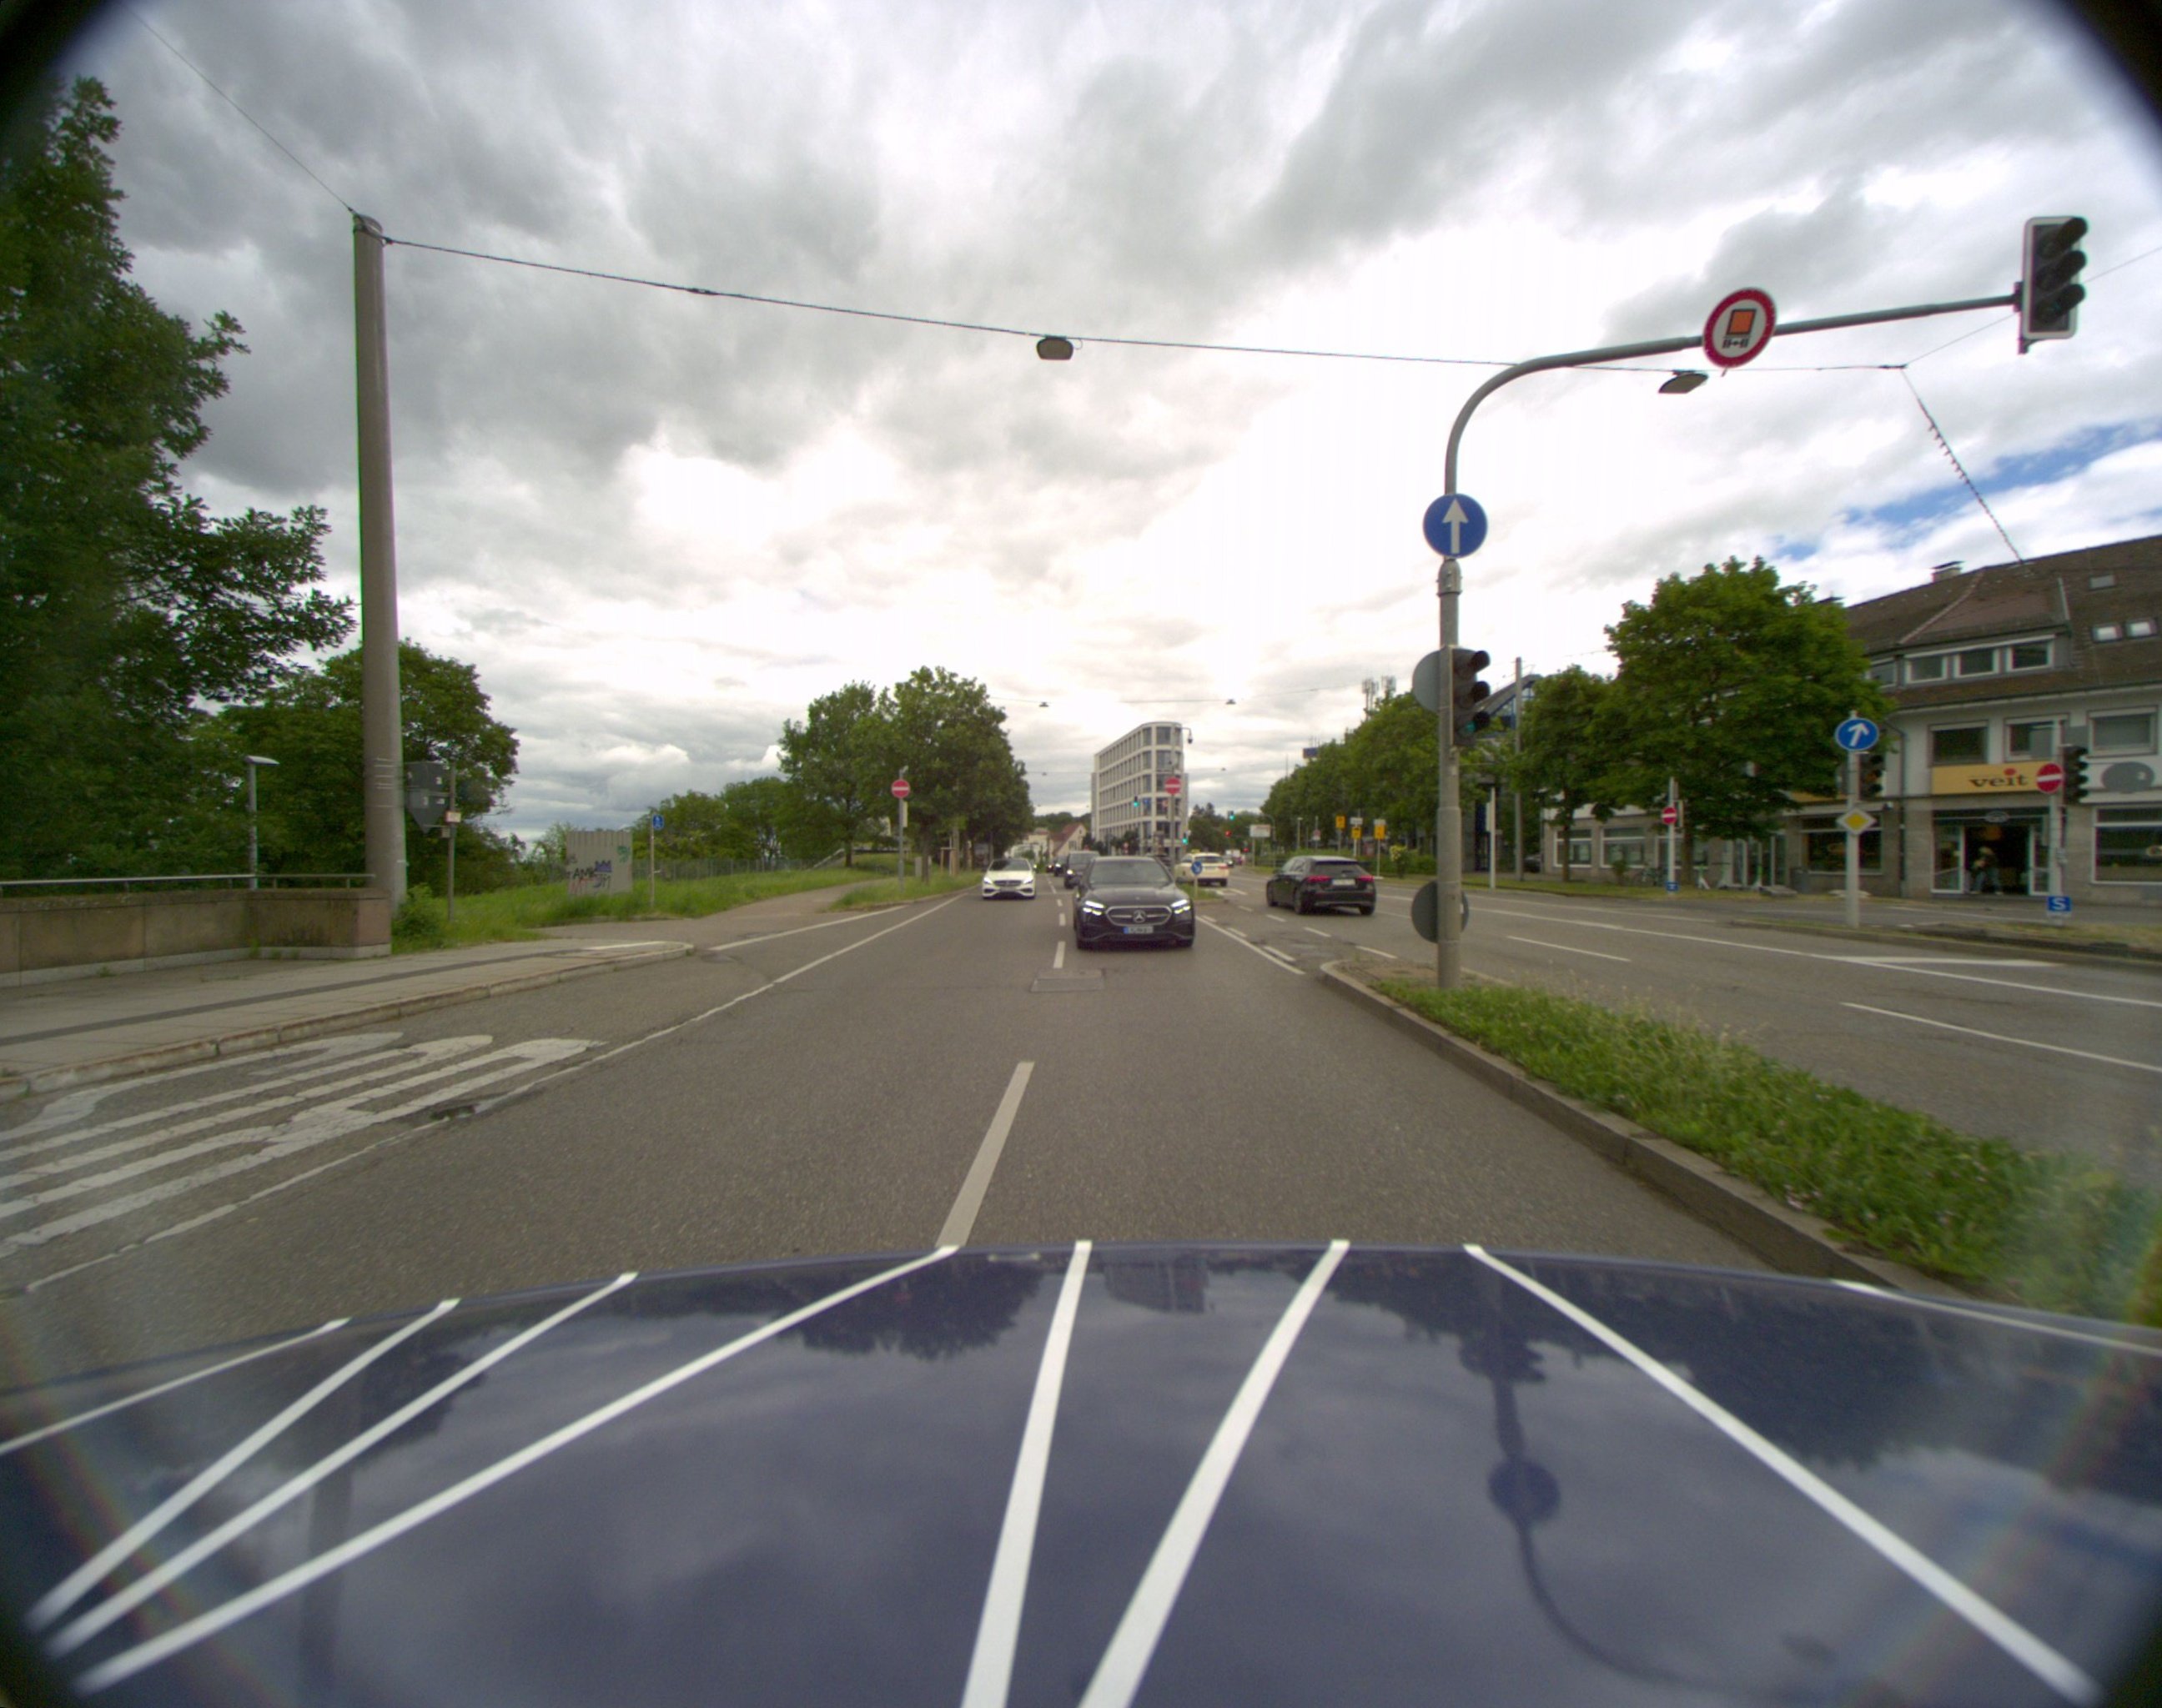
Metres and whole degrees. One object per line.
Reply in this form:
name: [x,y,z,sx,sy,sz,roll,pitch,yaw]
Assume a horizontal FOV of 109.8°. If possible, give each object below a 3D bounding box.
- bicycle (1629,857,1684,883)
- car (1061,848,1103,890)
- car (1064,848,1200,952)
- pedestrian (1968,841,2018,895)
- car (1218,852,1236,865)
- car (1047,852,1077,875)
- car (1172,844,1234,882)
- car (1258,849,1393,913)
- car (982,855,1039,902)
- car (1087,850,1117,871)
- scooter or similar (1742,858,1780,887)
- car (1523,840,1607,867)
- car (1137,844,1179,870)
bicycle: [22.471,0.628,29.663,2.058,0.982,0.625,0,1,-19]
car: [0.018,0.623,34.413,1.735,1.680,4.367,-1,1,-1]
car: [0.720,0.672,13.787,1.873,1.543,4.771,0,0,-3]
pedestrian: [30.590,0.461,25.497,0.771,1.812,0.706,0,1,8]
car: [17.640,0.522,92.034,1.953,1.463,4.545,0,1,8]
car: [-1.300,0.645,53.953,1.735,1.474,4.369,-1,0,3]
car: [5.414,0.347,34.393,1.917,1.585,4.814,0,0,-2]
car: [6.072,0.595,19.554,1.998,1.450,4.772,0,0,1]
car: [-2.458,0.800,27.510,1.873,1.496,4.771,0,0,-3]
car: [1.544,0.457,57.967,1.955,1.463,4.541,0,0,-3]
scooter or similar: [23.703,0.645,26.482,1.452,0.975,0.625,0,1,-33]
car: [29.254,-0.043,45.963,4.001,1.587,1.998,0,1,-11]
car: [4.899,0.165,48.829,1.955,1.585,4.771,0,0,-3]
